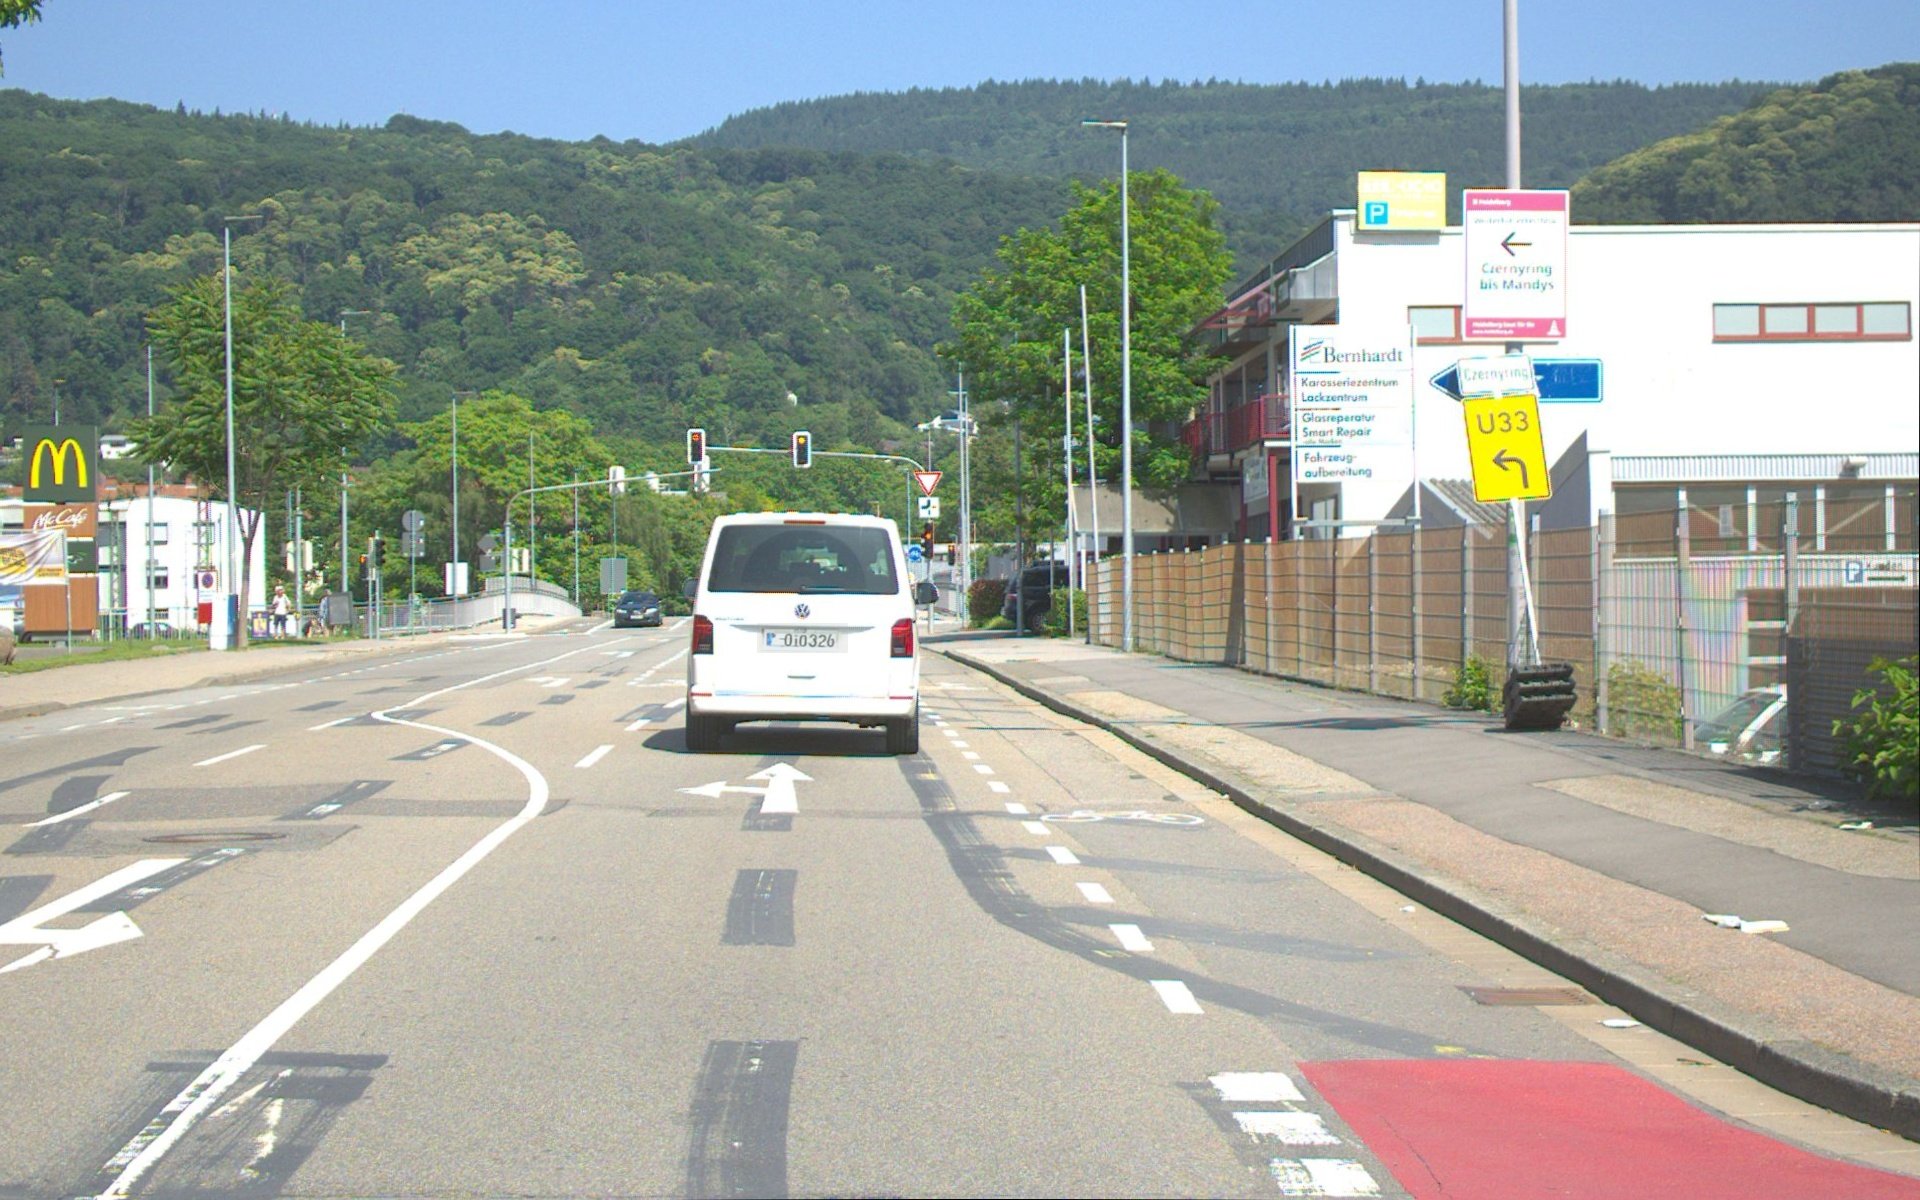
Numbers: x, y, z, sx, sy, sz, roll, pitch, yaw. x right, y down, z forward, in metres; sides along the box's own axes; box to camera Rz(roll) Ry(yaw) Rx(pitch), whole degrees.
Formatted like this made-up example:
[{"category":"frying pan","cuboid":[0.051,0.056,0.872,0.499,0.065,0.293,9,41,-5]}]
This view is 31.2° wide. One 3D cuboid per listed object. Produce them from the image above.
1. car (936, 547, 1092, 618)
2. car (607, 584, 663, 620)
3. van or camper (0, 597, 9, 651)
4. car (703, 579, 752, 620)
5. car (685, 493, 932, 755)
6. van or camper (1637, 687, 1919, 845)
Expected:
[{"category":"car","cuboid":[1.443,-0.465,90.464,3.987,1.769,2.000,-1,0,4]},{"category":"car","cuboid":[-12.789,0.067,135.409,1.993,1.365,4.327,-1,0,-3]},{"category":"van or camper","cuboid":[-30.214,0.643,101.309,3.986,1.568,2.001,2,0,-21]},{"category":"car","cuboid":[-9.432,-0.035,139.546,1.849,1.583,4.000,-1,0,-2]},{"category":"car","cuboid":[-1.355,0.180,29.298,1.934,2.052,4.545,0,0,-4]},{"category":"van or camper","cuboid":[9.960,1.824,38.319,4.312,1.645,2.021,0,0,-7]}]
